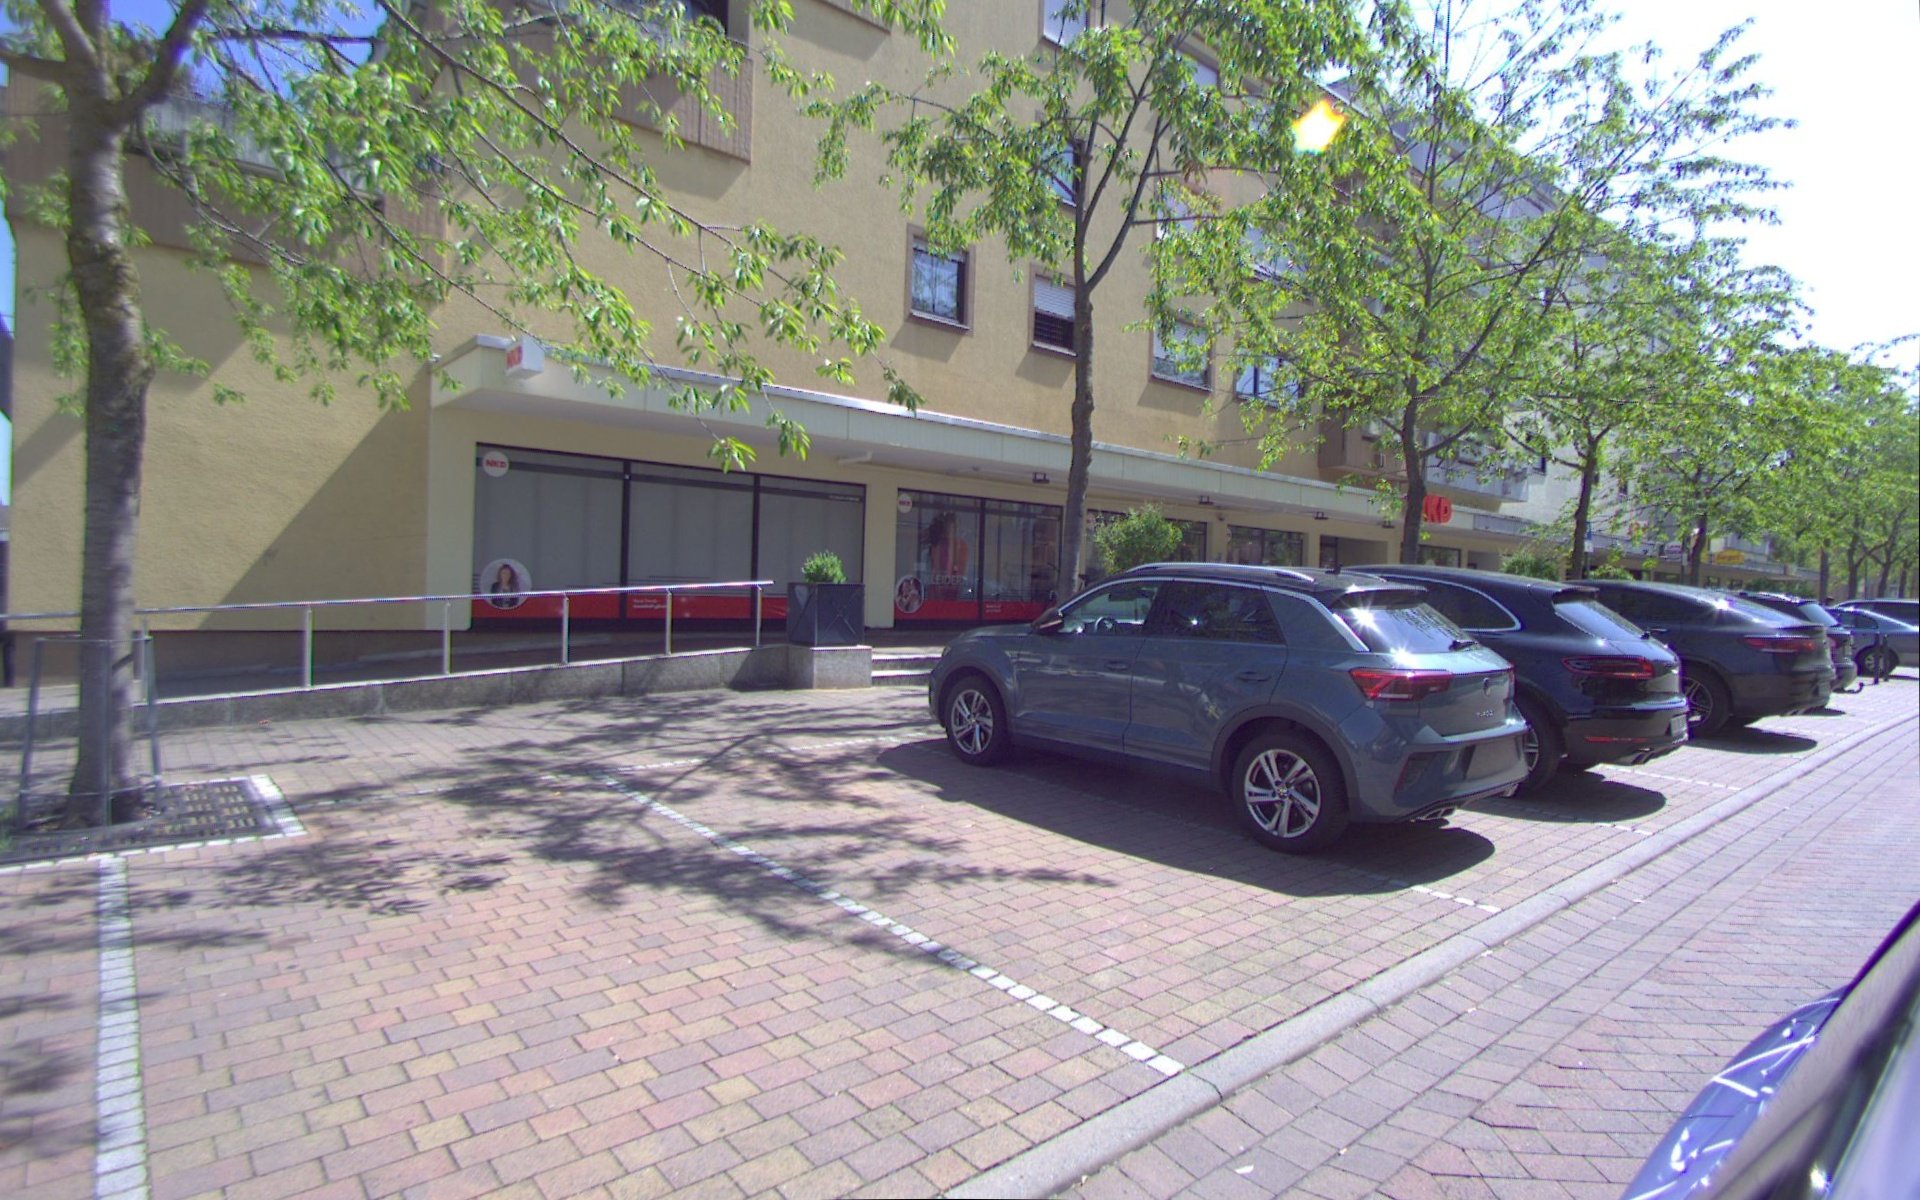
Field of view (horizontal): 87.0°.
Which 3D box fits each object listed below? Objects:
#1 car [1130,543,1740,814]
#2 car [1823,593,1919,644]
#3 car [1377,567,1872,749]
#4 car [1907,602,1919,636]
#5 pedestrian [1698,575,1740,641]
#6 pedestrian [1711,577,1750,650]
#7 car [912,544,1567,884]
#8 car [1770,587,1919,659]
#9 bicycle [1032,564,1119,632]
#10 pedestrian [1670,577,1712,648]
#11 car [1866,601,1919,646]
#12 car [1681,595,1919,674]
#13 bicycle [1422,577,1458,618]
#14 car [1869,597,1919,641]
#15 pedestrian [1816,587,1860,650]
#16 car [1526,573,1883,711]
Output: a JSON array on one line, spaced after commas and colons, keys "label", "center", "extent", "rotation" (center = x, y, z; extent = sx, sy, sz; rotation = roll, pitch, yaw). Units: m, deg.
[{"label": "car", "center": [3.802, 0.418, 8.697], "extent": [1.966, 1.701, 4.286], "rotation": [1, 2, -42]}, {"label": "car", "center": [31.977, 0.654, 33.768], "extent": [1.774, 1.562, 4.586], "rotation": [1, 3, -40]}, {"label": "car", "center": [7.572, 0.506, 11.996], "extent": [1.816, 1.608, 4.521], "rotation": [1, 2, -38]}, {"label": "car", "center": [41.516, 0.873, 41.736], "extent": [1.434, 1.407, 3.401], "rotation": [1, 3, -40]}, {"label": "pedestrian", "center": [20.256, 0.214, 27.005], "extent": [0.635, 1.752, 0.617], "rotation": [0, 0, -6]}, {"label": "pedestrian", "center": [19.665, 0.334, 25.841], "extent": [0.599, 1.819, 0.623], "rotation": [1, 0, 21]}, {"label": "car", "center": [1.619, 0.472, 6.938], "extent": [1.792, 1.552, 3.952], "rotation": [1, 3, -41]}, {"label": "car", "center": [23.775, 0.593, 26.091], "extent": [1.726, 1.637, 4.251], "rotation": [1, 2, -42]}, {"label": "bicycle", "center": [2.052, -0.040, 17.801], "extent": [1.742, 1.138, 0.413], "rotation": [0, 0, -39]}, {"label": "pedestrian", "center": [18.853, 0.305, 26.119], "extent": [0.622, 1.795, 0.684], "rotation": [1, 0, 12]}, {"label": "car", "center": [34.134, 0.887, 35.088], "extent": [1.585, 1.449, 3.800], "rotation": [1, 3, -40]}, {"label": "car", "center": [18.871, 0.713, 22.542], "extent": [4.350, 1.481, 1.871], "rotation": [2, 2, 30]}, {"label": "bicycle", "center": [12.803, -0.069, 26.992], "extent": [1.290, 1.081, 0.360], "rotation": [0, 0, -40]}, {"label": "car", "center": [35.826, 0.765, 36.986], "extent": [1.604, 1.535, 3.652], "rotation": [1, 3, -40]}, {"label": "pedestrian", "center": [25.932, 0.532, 29.905], "extent": [0.853, 1.803, 0.760], "rotation": [1, 0, -33]}, {"label": "car", "center": [11.064, 0.510, 15.282], "extent": [1.652, 1.631, 4.035], "rotation": [0, 3, -41]}]
